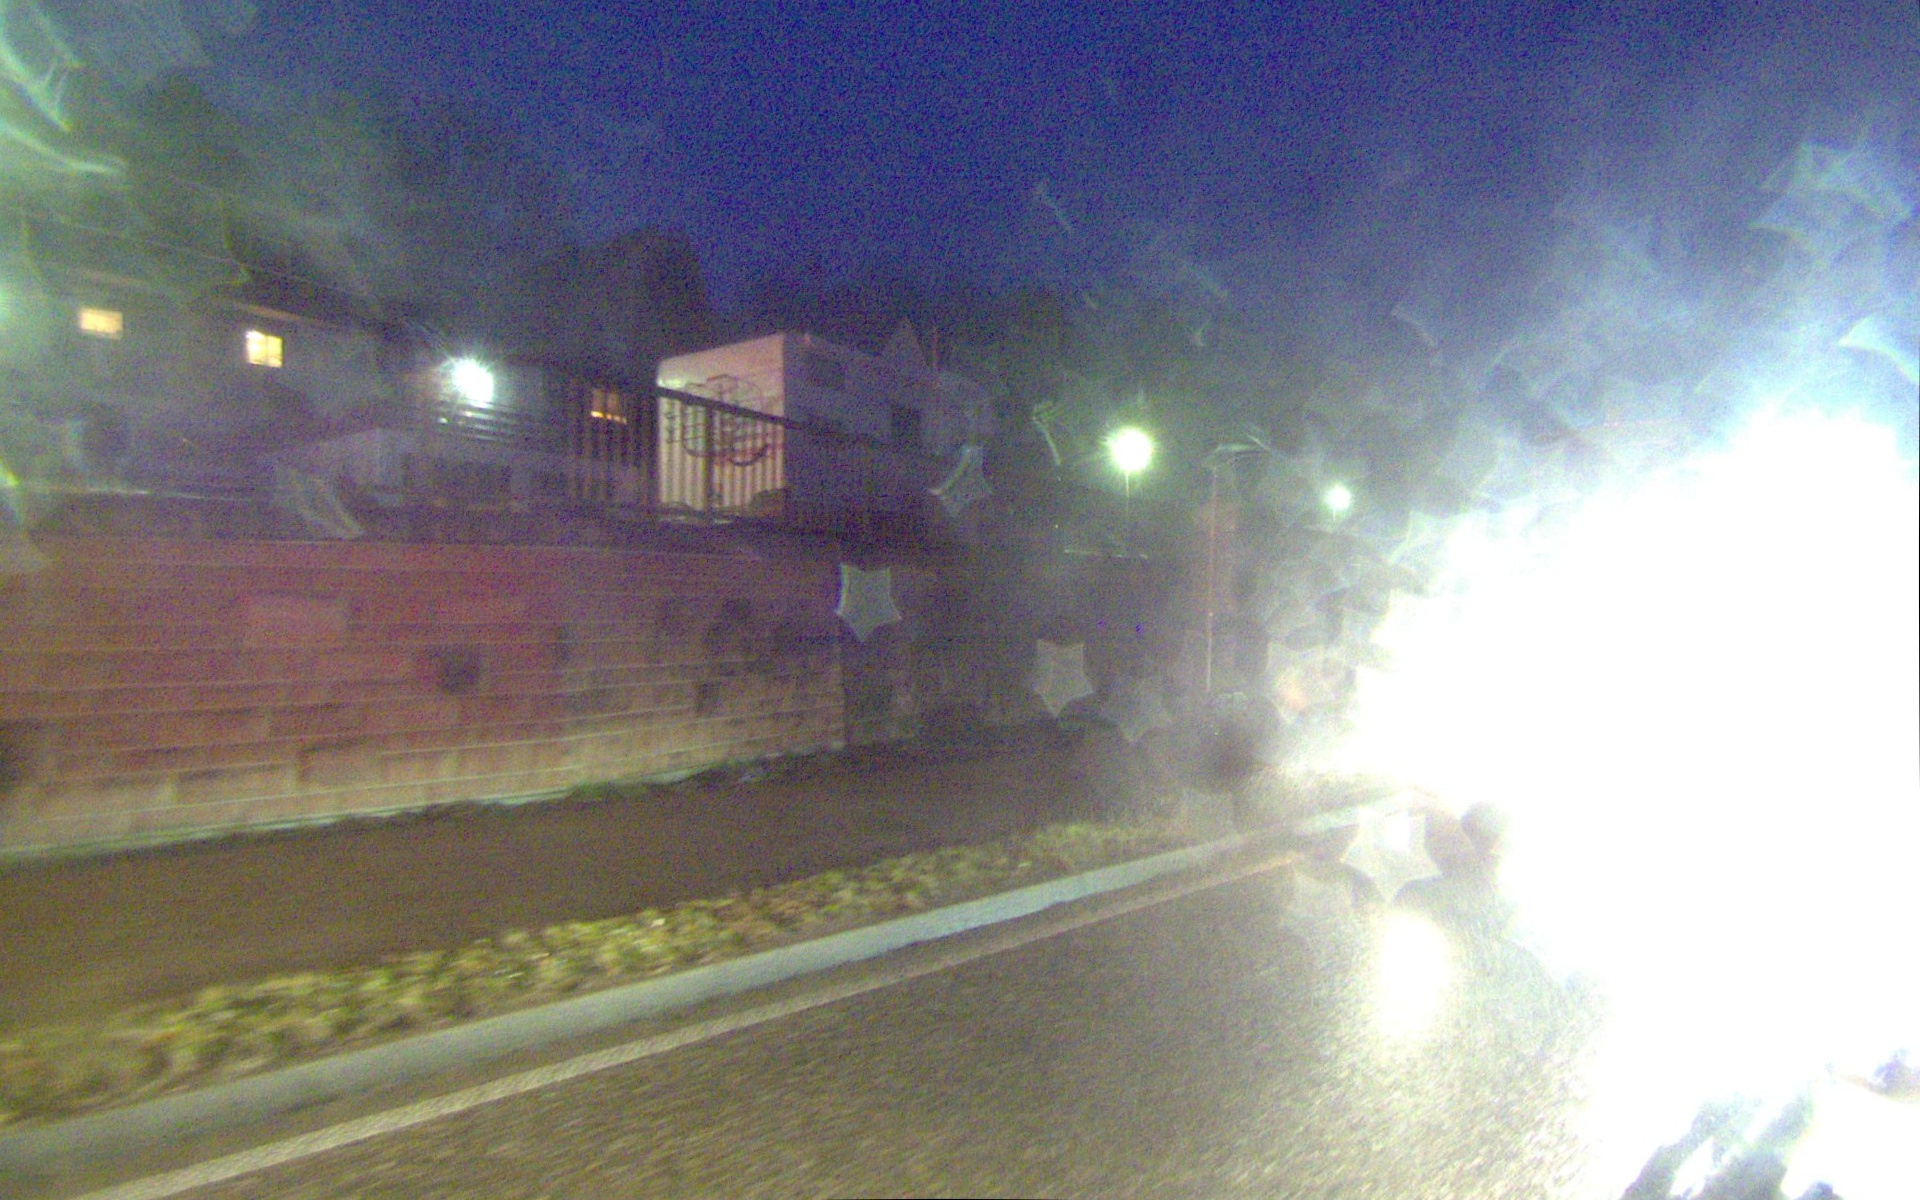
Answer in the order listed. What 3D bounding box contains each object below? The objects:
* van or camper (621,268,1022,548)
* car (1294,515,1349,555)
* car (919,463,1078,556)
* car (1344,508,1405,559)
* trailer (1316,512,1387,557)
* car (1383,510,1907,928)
[{"bbox_3d":[-1.628,-2.363,14.915,2.566,2.944,6.292,1,1,30],"label":"van or camper"},{"bbox_3d":[16.810,-2.988,46.923,1.605,1.660,3.954,1,1,32],"label":"car"},{"bbox_3d":[0.934,-1.842,21.645,1.628,1.638,4.088,1,0,31],"label":"car"},{"bbox_3d":[23.734,-3.712,57.813,2.107,2.668,5.384,2,1,34],"label":"car"},{"bbox_3d":[20.661,-3.373,53.239,2.218,2.097,5.651,2,2,34],"label":"trailer"},{"bbox_3d":[4.734,0.528,6.667,4.628,1.841,1.758,0,0,-41],"label":"car"}]
